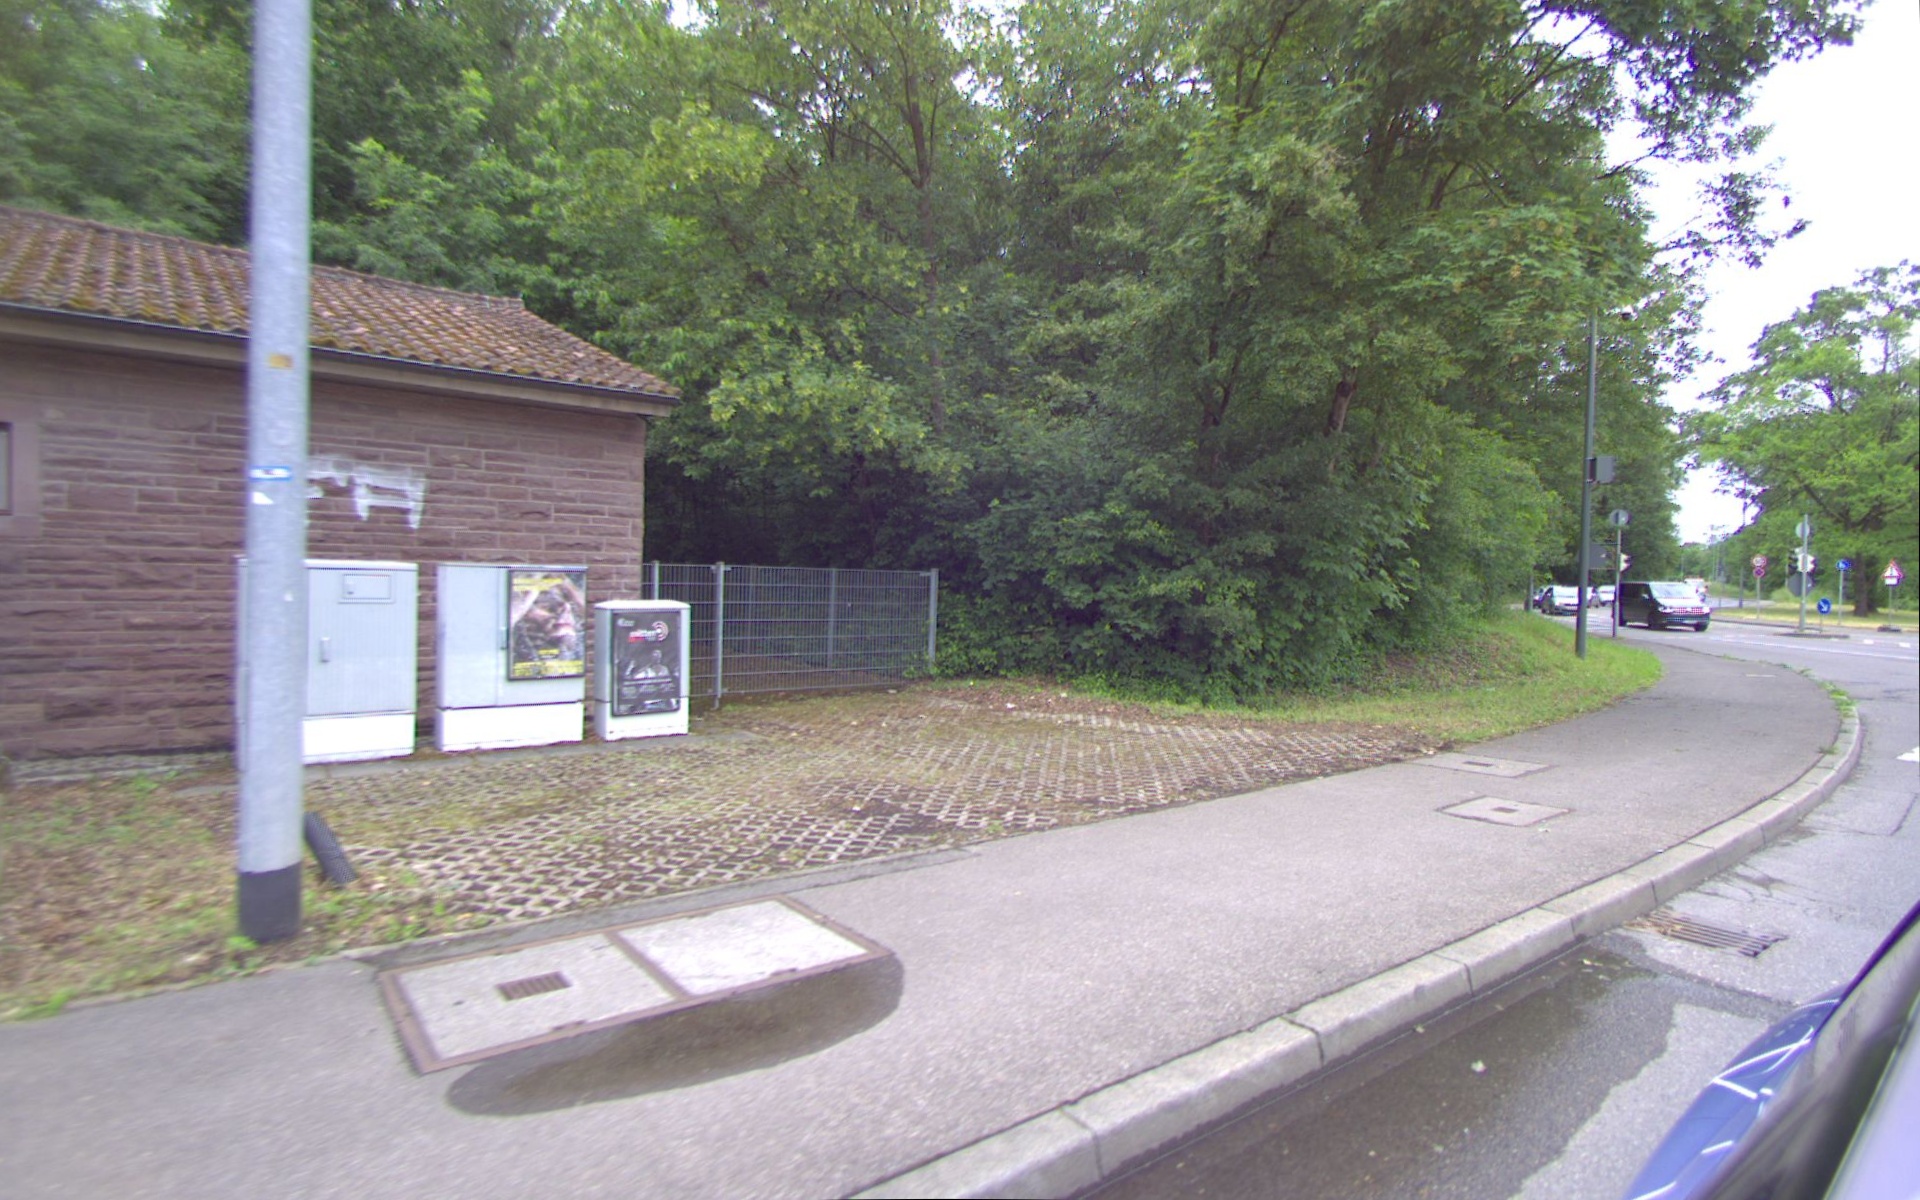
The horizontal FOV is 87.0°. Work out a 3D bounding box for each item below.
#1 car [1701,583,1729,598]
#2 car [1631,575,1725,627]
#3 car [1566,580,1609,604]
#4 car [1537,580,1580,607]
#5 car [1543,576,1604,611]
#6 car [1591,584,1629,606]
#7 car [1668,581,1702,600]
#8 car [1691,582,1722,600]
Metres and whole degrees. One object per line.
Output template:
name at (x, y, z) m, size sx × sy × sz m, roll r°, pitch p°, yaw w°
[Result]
car at (79.970, -0.993, 107.214) m, size 3.809 × 1.518 × 1.775 m, roll 0°, pitch 3°, yaw -45°
car at (29.096, -0.027, 41.192) m, size 1.968 × 1.895 × 4.500 m, roll 3°, pitch 2°, yaw 21°
car at (42.742, -0.565, 68.934) m, size 1.774 × 1.518 × 3.813 m, roll 4°, pitch 3°, yaw 42°
car at (36.813, -0.402, 62.180) m, size 1.770 × 1.518 × 3.820 m, roll 4°, pitch 3°, yaw 37°
car at (31.814, -0.338, 52.622) m, size 1.771 × 1.695 × 3.967 m, roll 3°, pitch 1°, yaw 18°
car at (48.765, -0.396, 75.911) m, size 1.774 × 1.518 × 3.813 m, roll 4°, pitch 3°, yaw 42°
car at (64.270, -0.822, 89.715) m, size 3.809 × 1.518 × 1.775 m, roll 0°, pitch 3°, yaw -45°
car at (70.081, -0.823, 94.994) m, size 3.809 × 1.518 × 1.775 m, roll 0°, pitch 3°, yaw -45°
